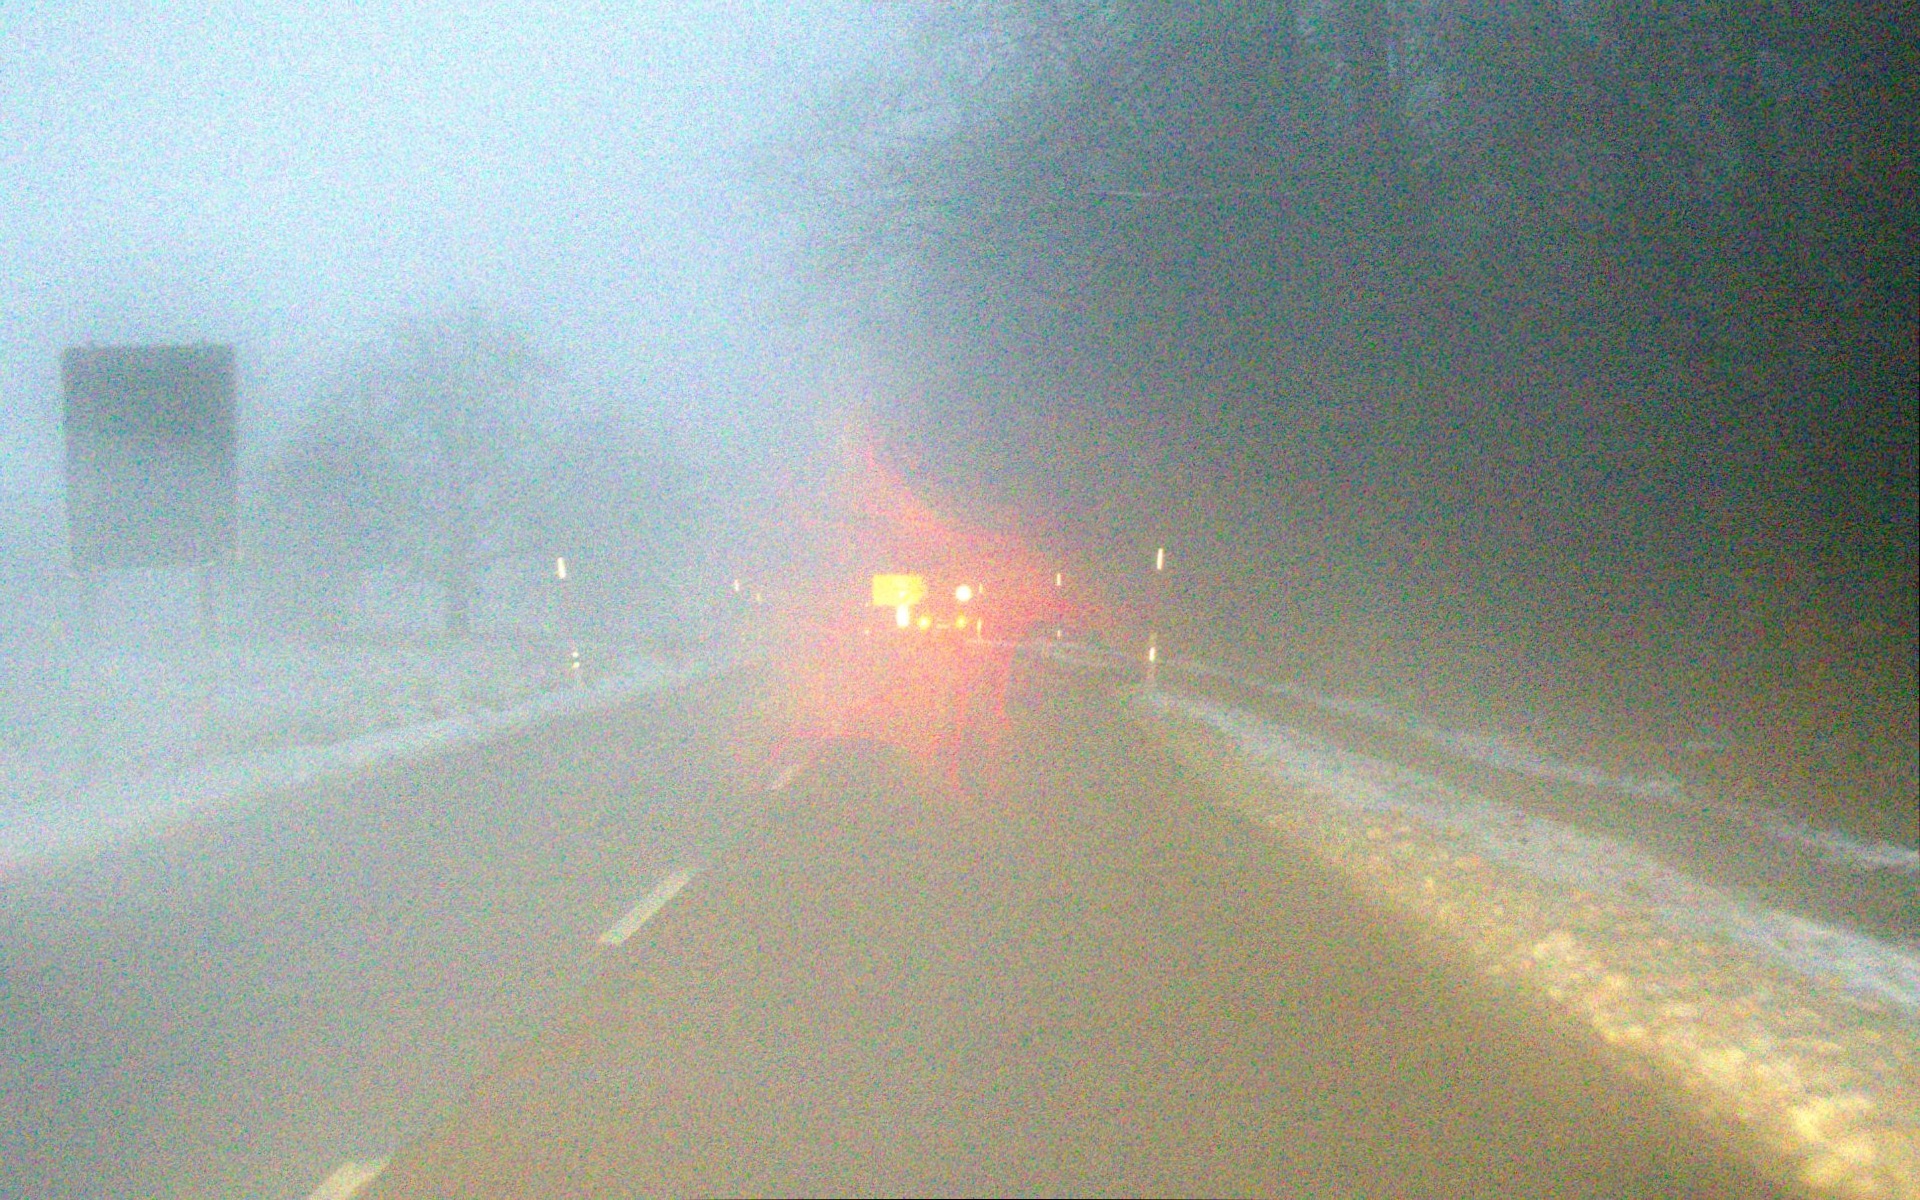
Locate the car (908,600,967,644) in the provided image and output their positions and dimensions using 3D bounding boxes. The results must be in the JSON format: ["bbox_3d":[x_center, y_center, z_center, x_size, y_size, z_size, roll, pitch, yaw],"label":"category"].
[{"bbox_3d":[-0.813,0.787,120.386,1.993,1.415,4.000,-1,-2,-1],"label":"car"}]
